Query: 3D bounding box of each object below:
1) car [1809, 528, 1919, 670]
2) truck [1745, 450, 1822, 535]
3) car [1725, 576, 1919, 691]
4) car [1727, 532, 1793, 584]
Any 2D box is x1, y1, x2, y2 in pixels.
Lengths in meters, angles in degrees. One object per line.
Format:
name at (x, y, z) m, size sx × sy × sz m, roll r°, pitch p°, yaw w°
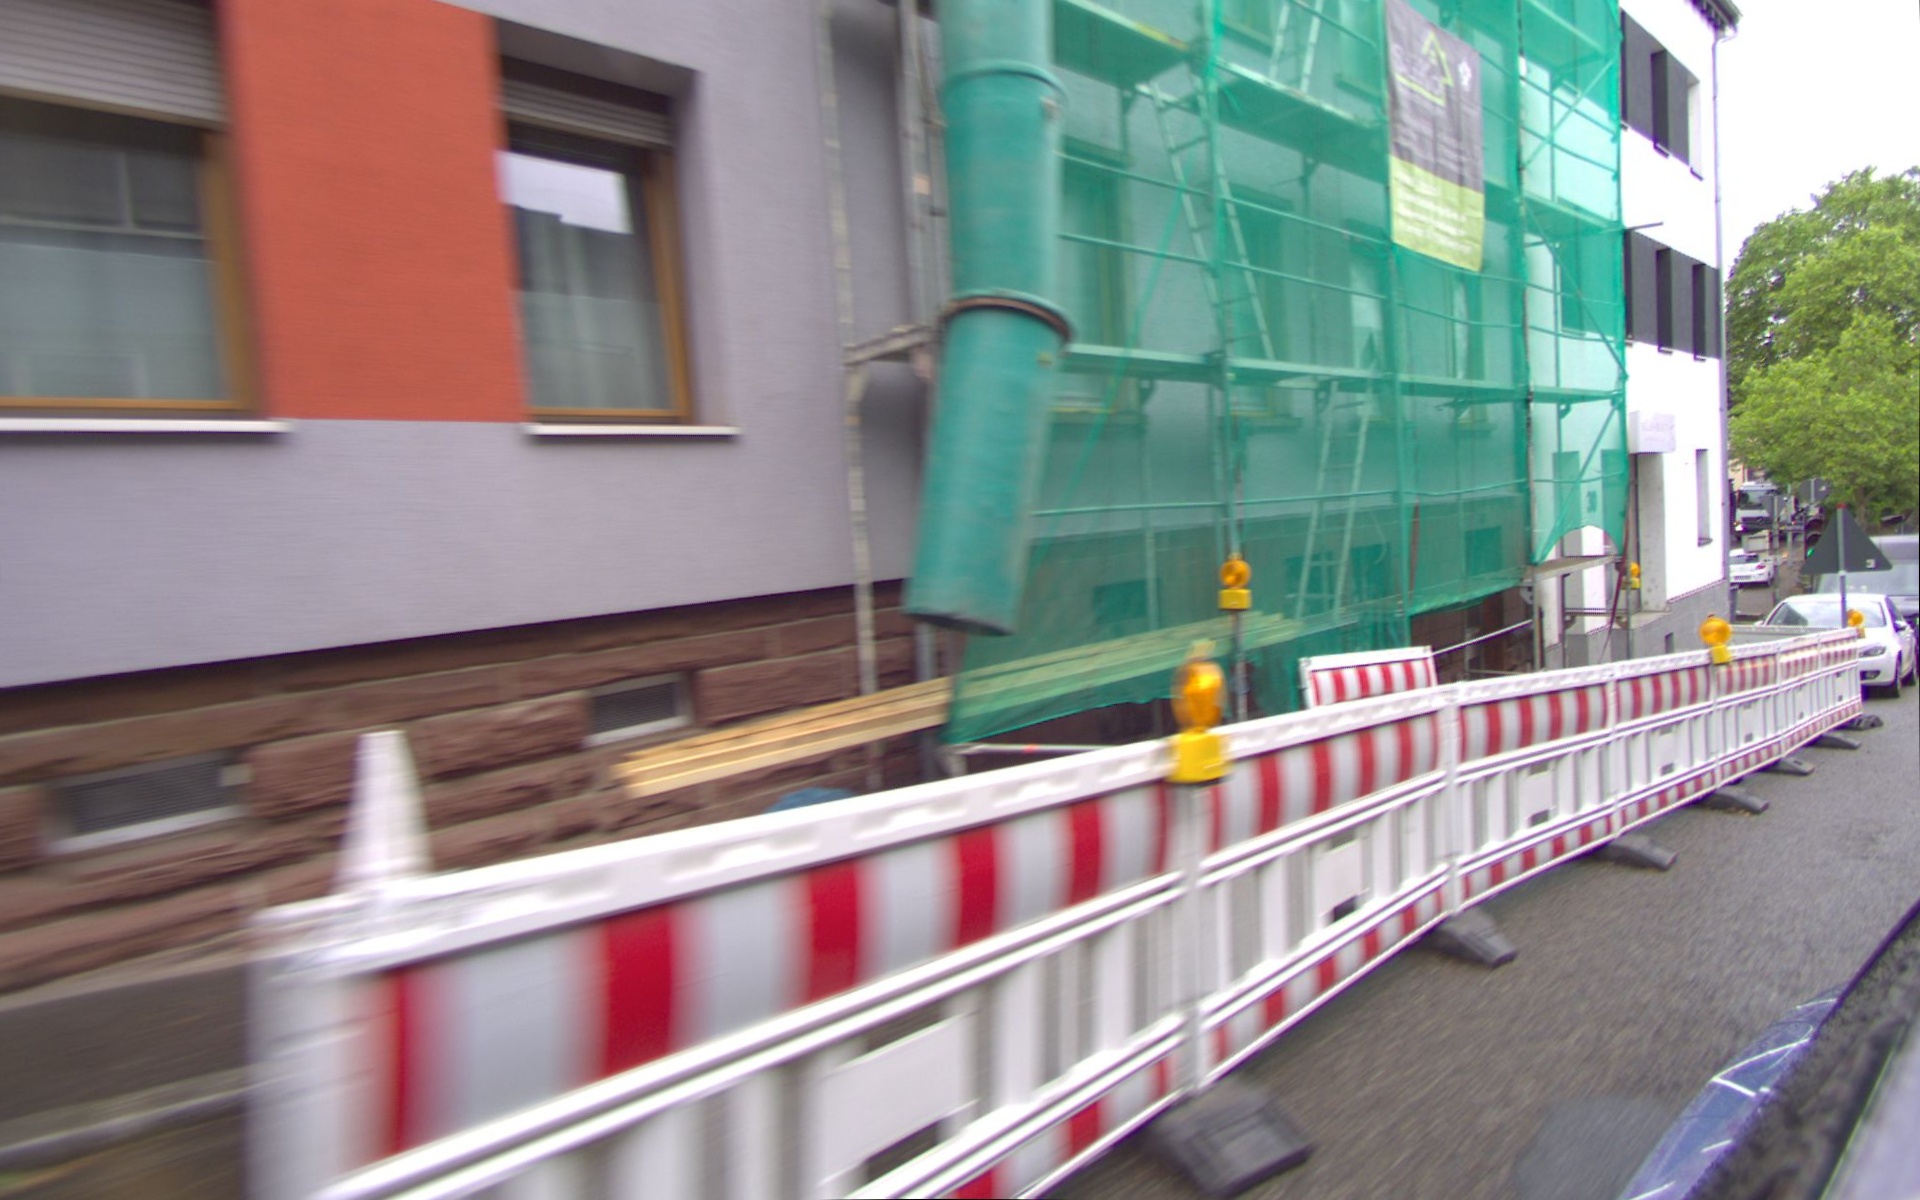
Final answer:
car at (18.384, -0.145, 19.676) m, size 5.738 × 2.443 × 1.996 m, roll -4°, pitch 1°, yaw -42°
truck at (45.753, -6.080, 56.086) m, size 2.746 × 3.342 × 11.088 m, roll 2°, pitch 12°, yaw 42°
car at (13.710, 0.433, 15.787) m, size 4.263 × 1.531 × 1.996 m, roll -2°, pitch 0°, yaw -42°
car at (33.556, -1.770, 42.394) m, size 1.631 × 1.508 × 4.286 m, roll -2°, pitch 8°, yaw 45°
